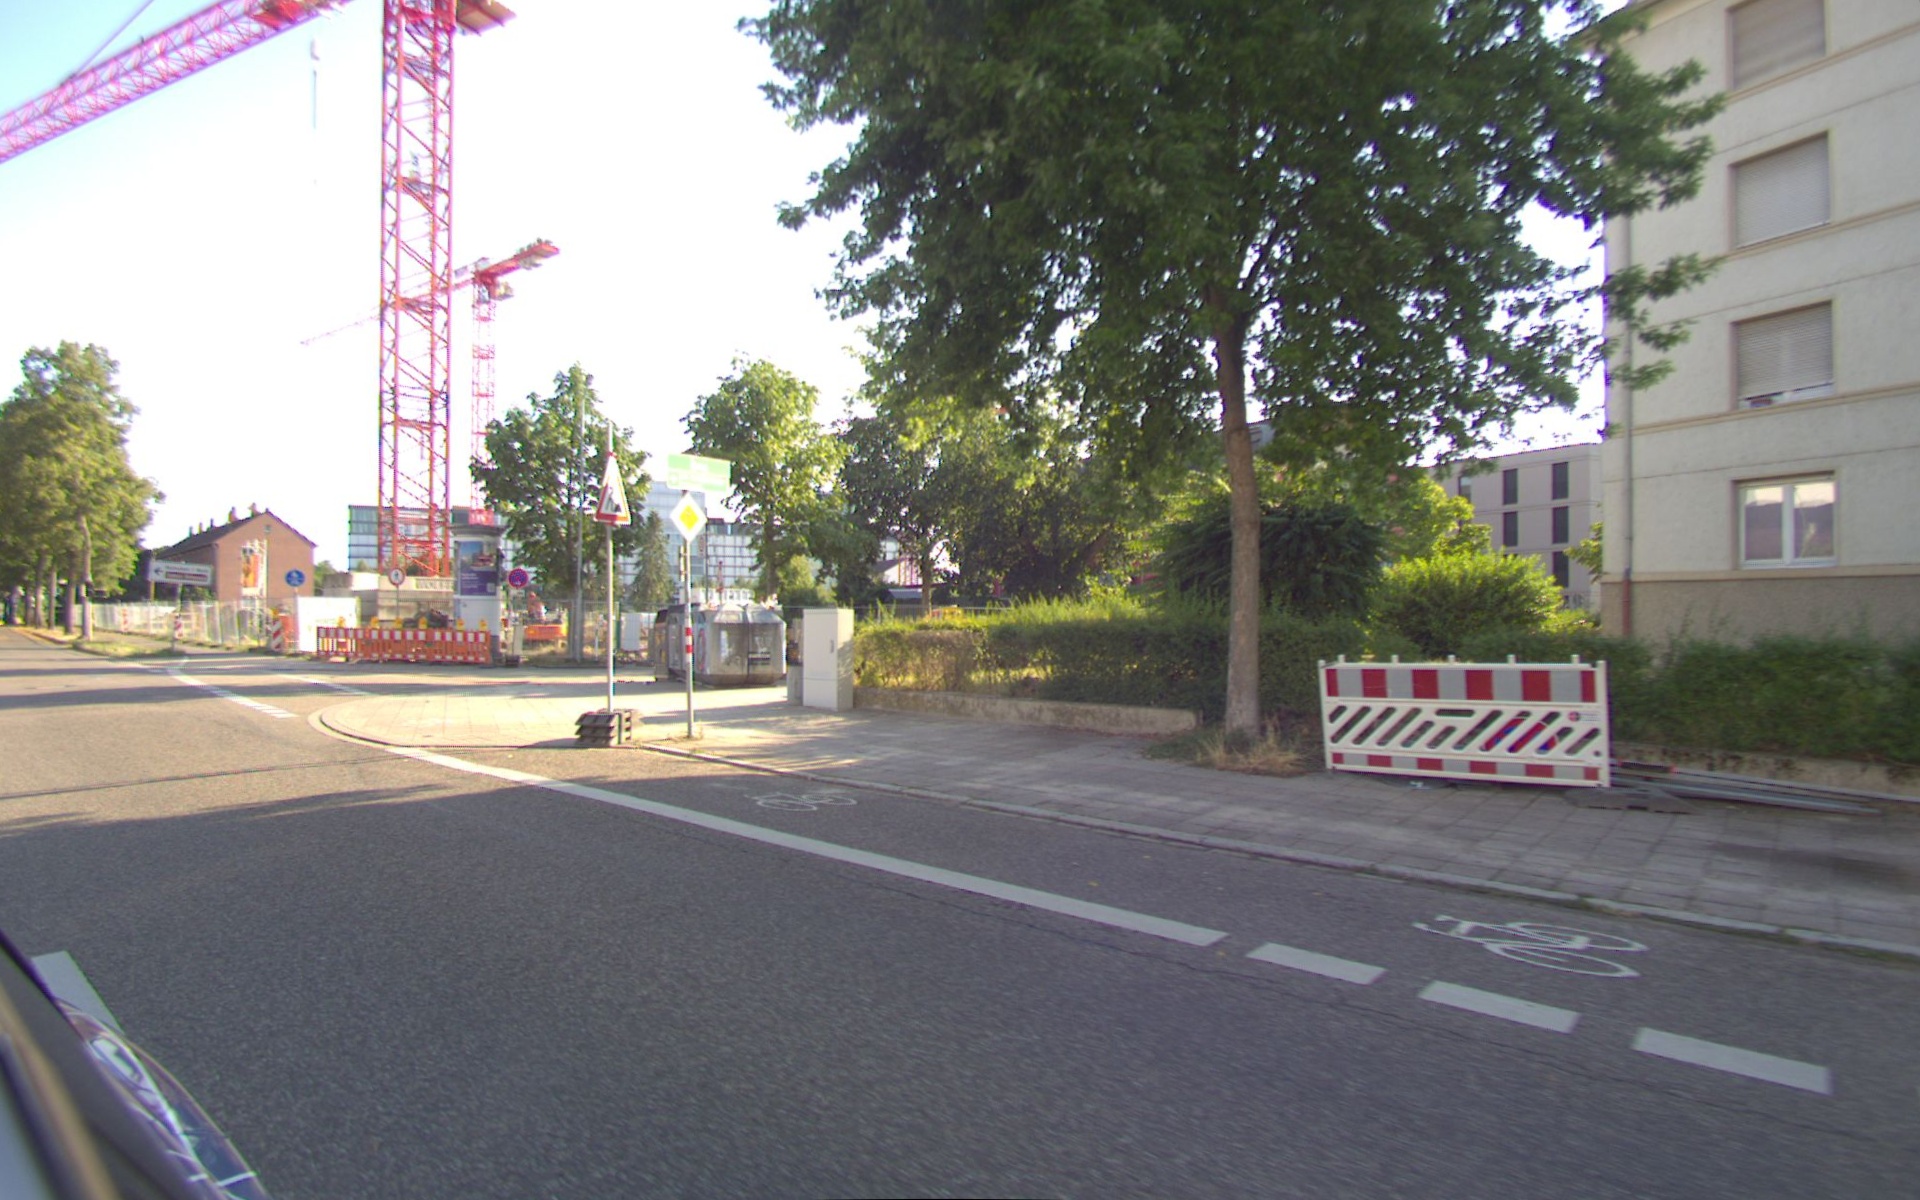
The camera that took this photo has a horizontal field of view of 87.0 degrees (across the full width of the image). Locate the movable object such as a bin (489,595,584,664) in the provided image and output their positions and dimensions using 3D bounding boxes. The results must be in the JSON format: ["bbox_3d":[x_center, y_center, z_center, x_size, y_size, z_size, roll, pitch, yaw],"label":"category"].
[{"bbox_3d":[-34.847,2.242,82.852,4.034,5.101,12.249,-2,1,-38],"label":"movable object such as a bin"}]
